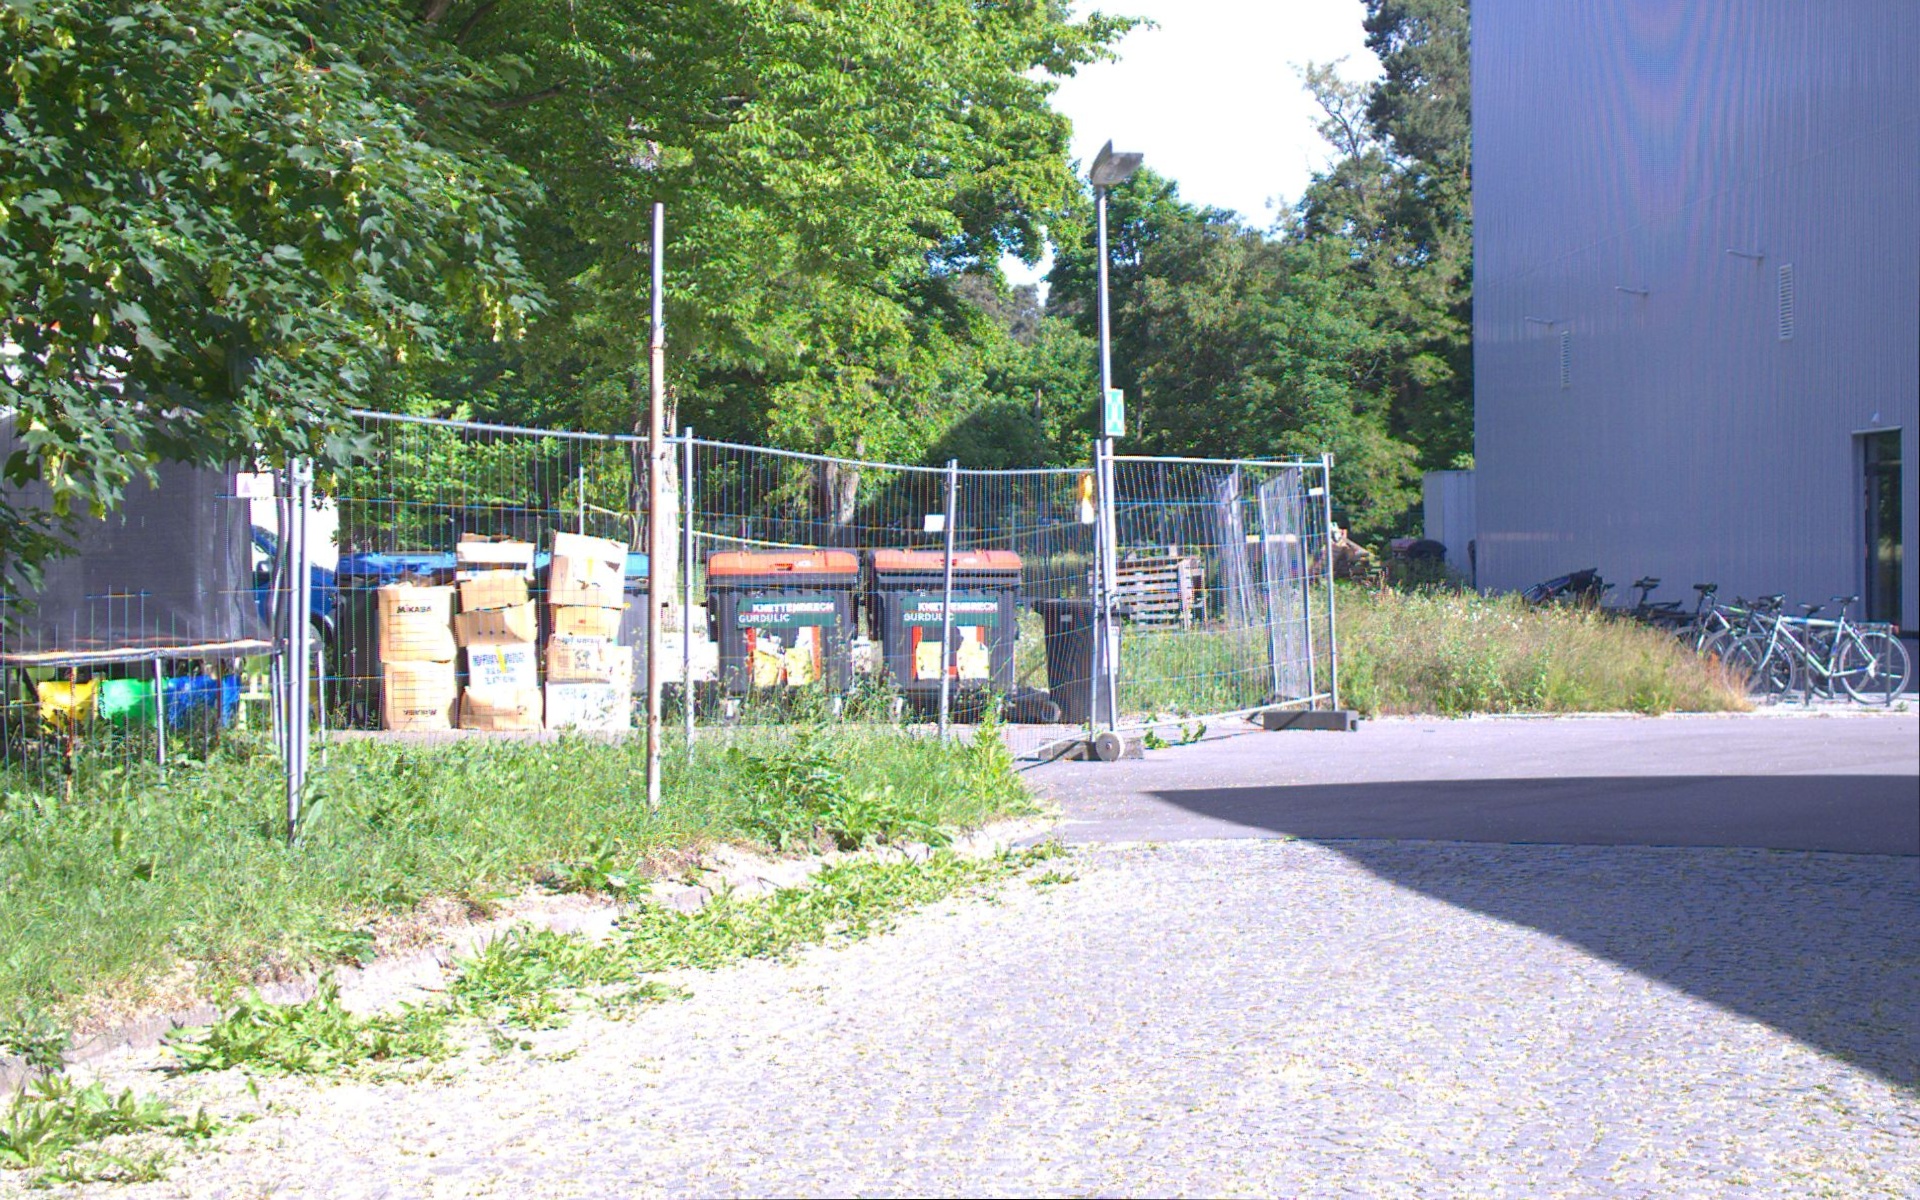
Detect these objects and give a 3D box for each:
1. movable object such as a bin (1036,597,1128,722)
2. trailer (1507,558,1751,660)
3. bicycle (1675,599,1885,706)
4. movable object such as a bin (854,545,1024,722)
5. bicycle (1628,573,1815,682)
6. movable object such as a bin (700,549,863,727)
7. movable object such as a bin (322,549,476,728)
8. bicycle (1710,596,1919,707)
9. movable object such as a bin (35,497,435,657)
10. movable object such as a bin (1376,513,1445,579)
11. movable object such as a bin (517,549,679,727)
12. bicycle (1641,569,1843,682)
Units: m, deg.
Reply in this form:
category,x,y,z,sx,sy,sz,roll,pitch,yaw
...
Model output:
category,x,y,z,sx,sy,sz,roll,pitch,yaw
movable object such as a bin,1.013,0.489,28.438,0.642,1.004,0.604,-1,1,13
trailer,8.208,0.101,42.299,2.710,1.195,1.246,-1,1,-3
bicycle,7.798,0.493,32.707,1.883,0.974,0.433,-1,1,-3
movable object such as a bin,-0.187,0.265,28.575,1.287,1.421,1.032,-1,1,-6
bicycle,8.105,0.286,36.616,1.883,1.122,0.433,-1,1,-3
movable object such as a bin,-1.490,0.299,28.453,1.287,1.421,1.032,-1,1,-5
movable object such as a bin,-4.611,0.303,28.326,1.084,1.433,1.056,-1,1,-1
bicycle,7.874,0.468,31.544,1.883,0.974,0.433,-1,1,-3
movable object such as a bin,-9.391,-0.309,44.842,4.870,1.963,1.933,-1,1,-5
movable object such as a bin,11.570,-1.389,88.314,1.363,1.650,2.842,-1,1,0
movable object such as a bin,-2.981,0.301,28.390,1.287,1.421,1.032,-1,1,-5
bicycle,7.728,0.245,33.983,1.883,1.078,0.433,-1,1,-3
